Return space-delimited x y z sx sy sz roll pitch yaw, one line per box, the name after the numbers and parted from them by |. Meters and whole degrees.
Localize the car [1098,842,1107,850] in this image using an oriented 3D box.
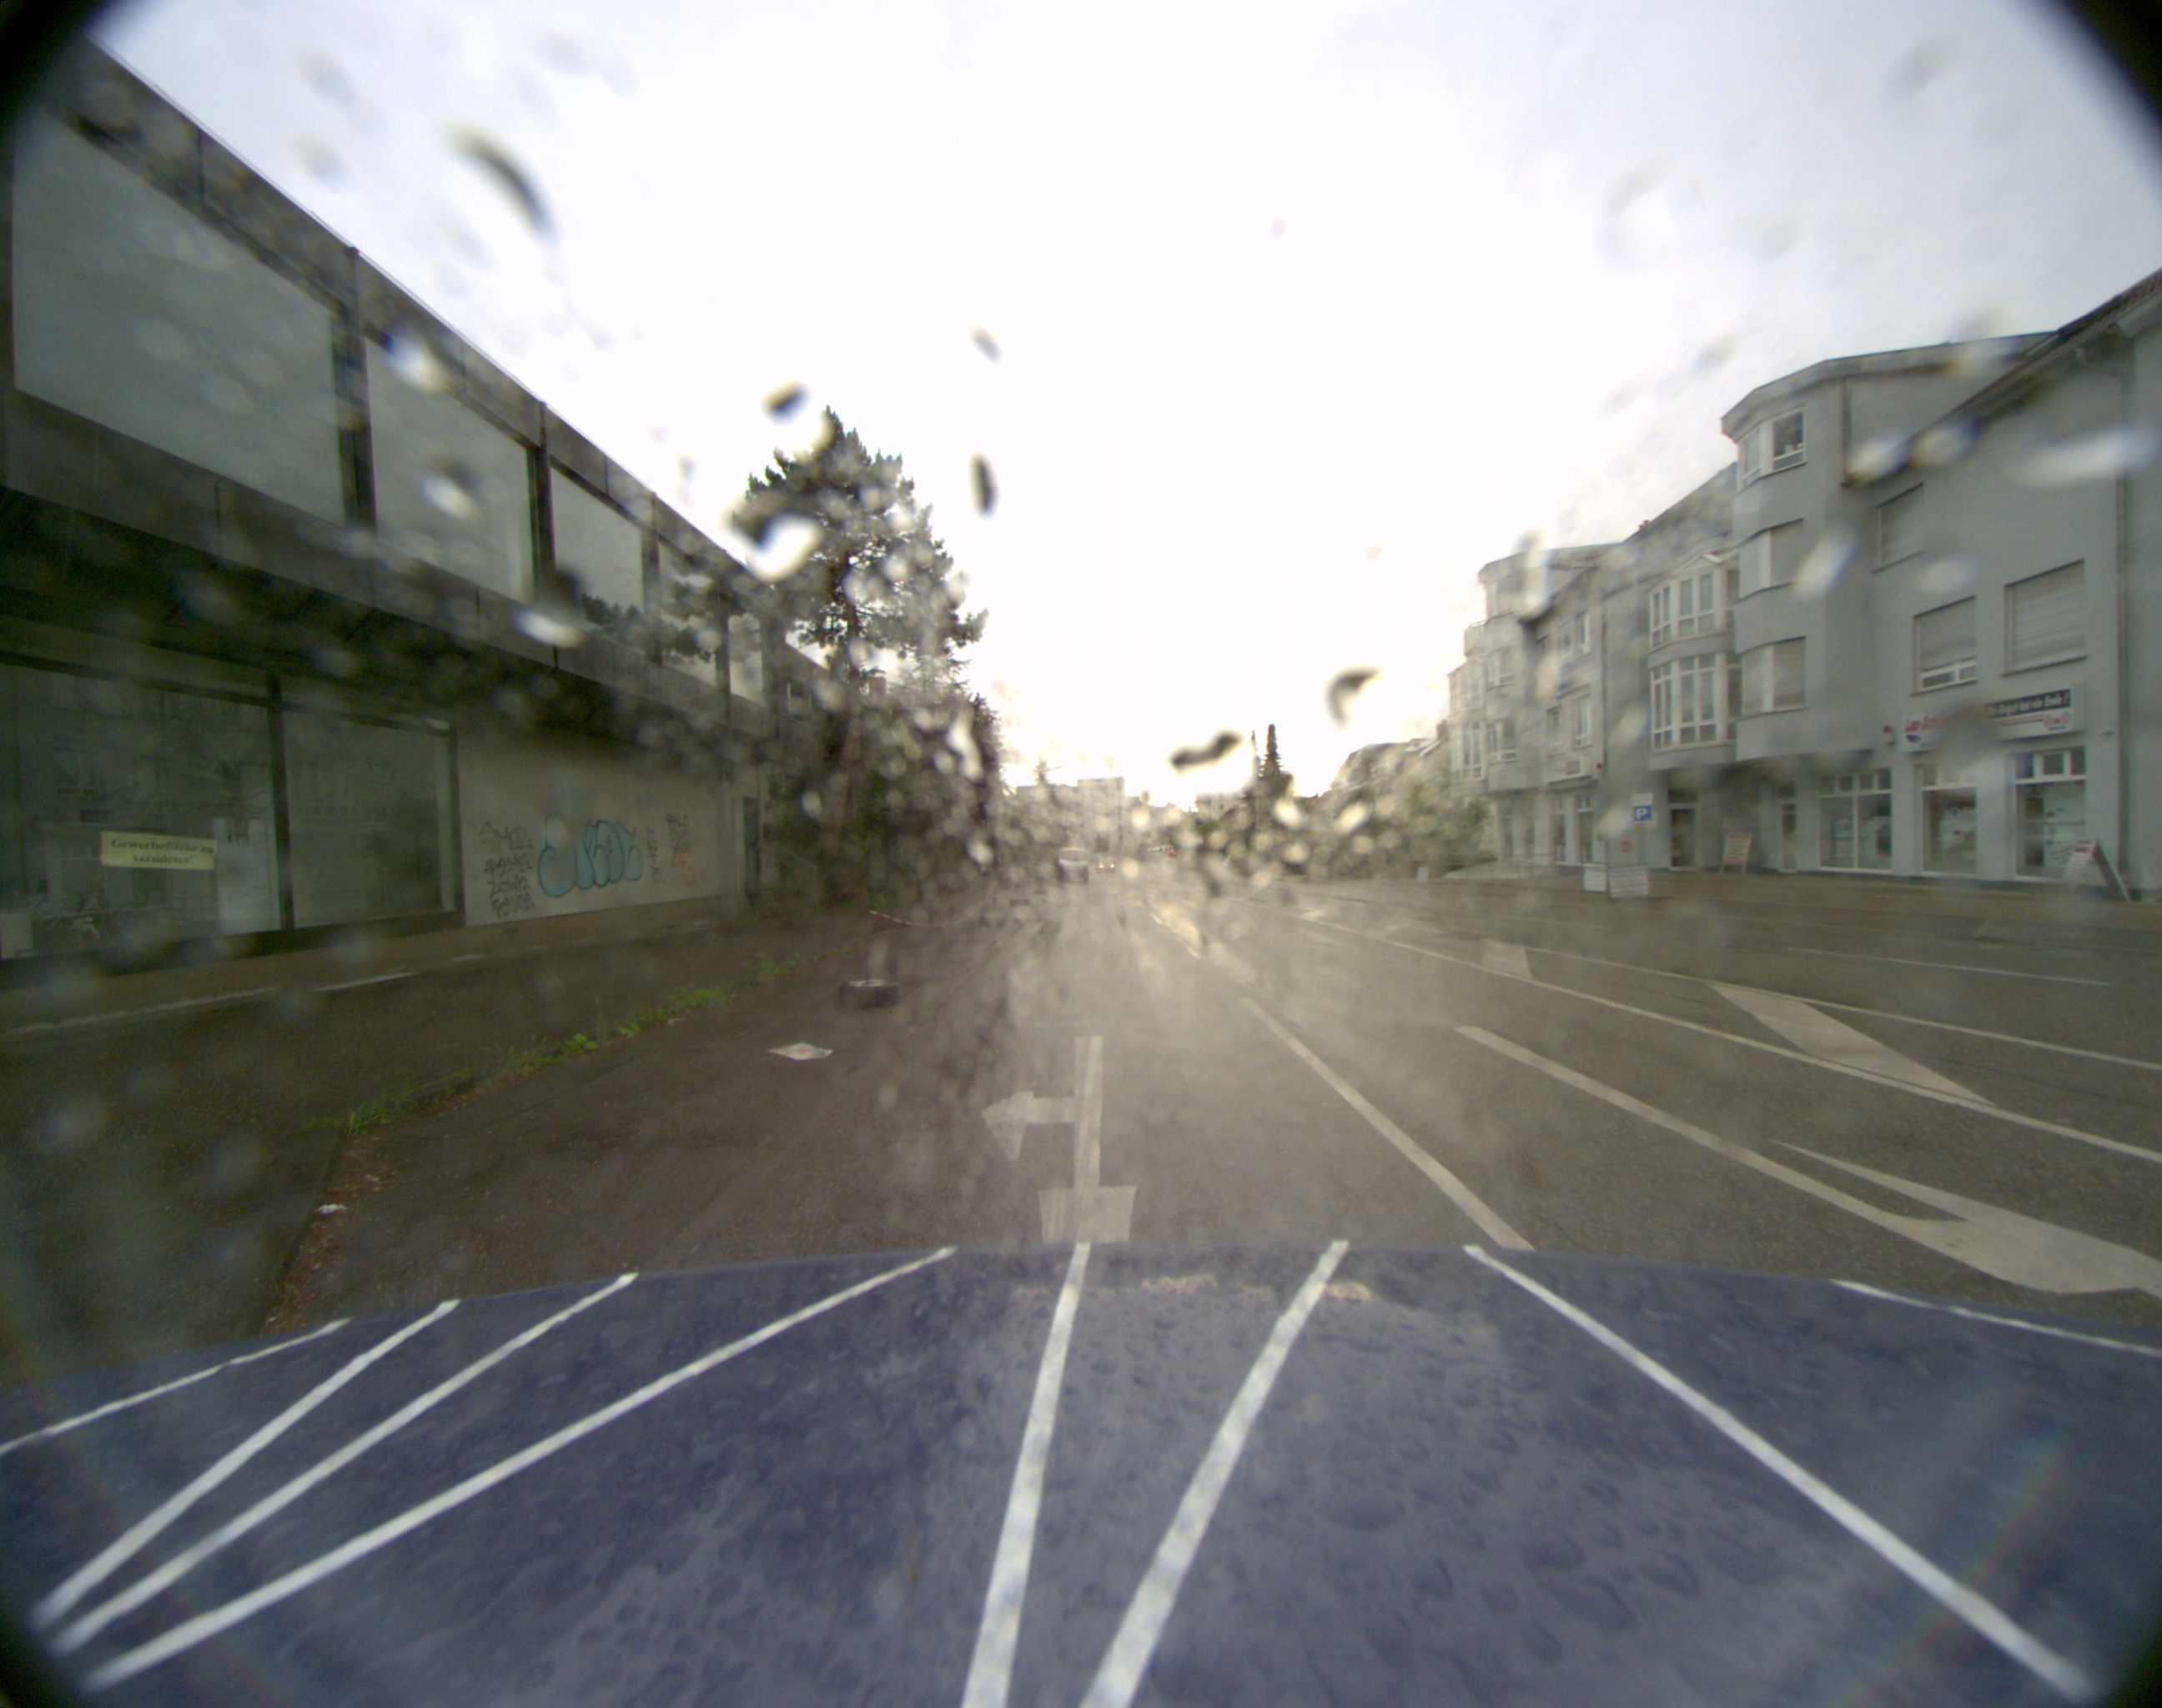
4.829 -1.803 168.542 1.803 1.675 3.999 -2 1 1 | car

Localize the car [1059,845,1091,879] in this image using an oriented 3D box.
-0.355 0.469 50.422 1.998 2.072 3.999 -2 1 1 | car

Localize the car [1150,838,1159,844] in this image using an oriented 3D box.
23.438 -4.073 241.834 1.996 1.808 4.003 -2 1 14 | car

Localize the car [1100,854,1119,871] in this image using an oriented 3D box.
2.931 0.864 78.809 1.754 1.534 4.676 -1 1 1 | car
